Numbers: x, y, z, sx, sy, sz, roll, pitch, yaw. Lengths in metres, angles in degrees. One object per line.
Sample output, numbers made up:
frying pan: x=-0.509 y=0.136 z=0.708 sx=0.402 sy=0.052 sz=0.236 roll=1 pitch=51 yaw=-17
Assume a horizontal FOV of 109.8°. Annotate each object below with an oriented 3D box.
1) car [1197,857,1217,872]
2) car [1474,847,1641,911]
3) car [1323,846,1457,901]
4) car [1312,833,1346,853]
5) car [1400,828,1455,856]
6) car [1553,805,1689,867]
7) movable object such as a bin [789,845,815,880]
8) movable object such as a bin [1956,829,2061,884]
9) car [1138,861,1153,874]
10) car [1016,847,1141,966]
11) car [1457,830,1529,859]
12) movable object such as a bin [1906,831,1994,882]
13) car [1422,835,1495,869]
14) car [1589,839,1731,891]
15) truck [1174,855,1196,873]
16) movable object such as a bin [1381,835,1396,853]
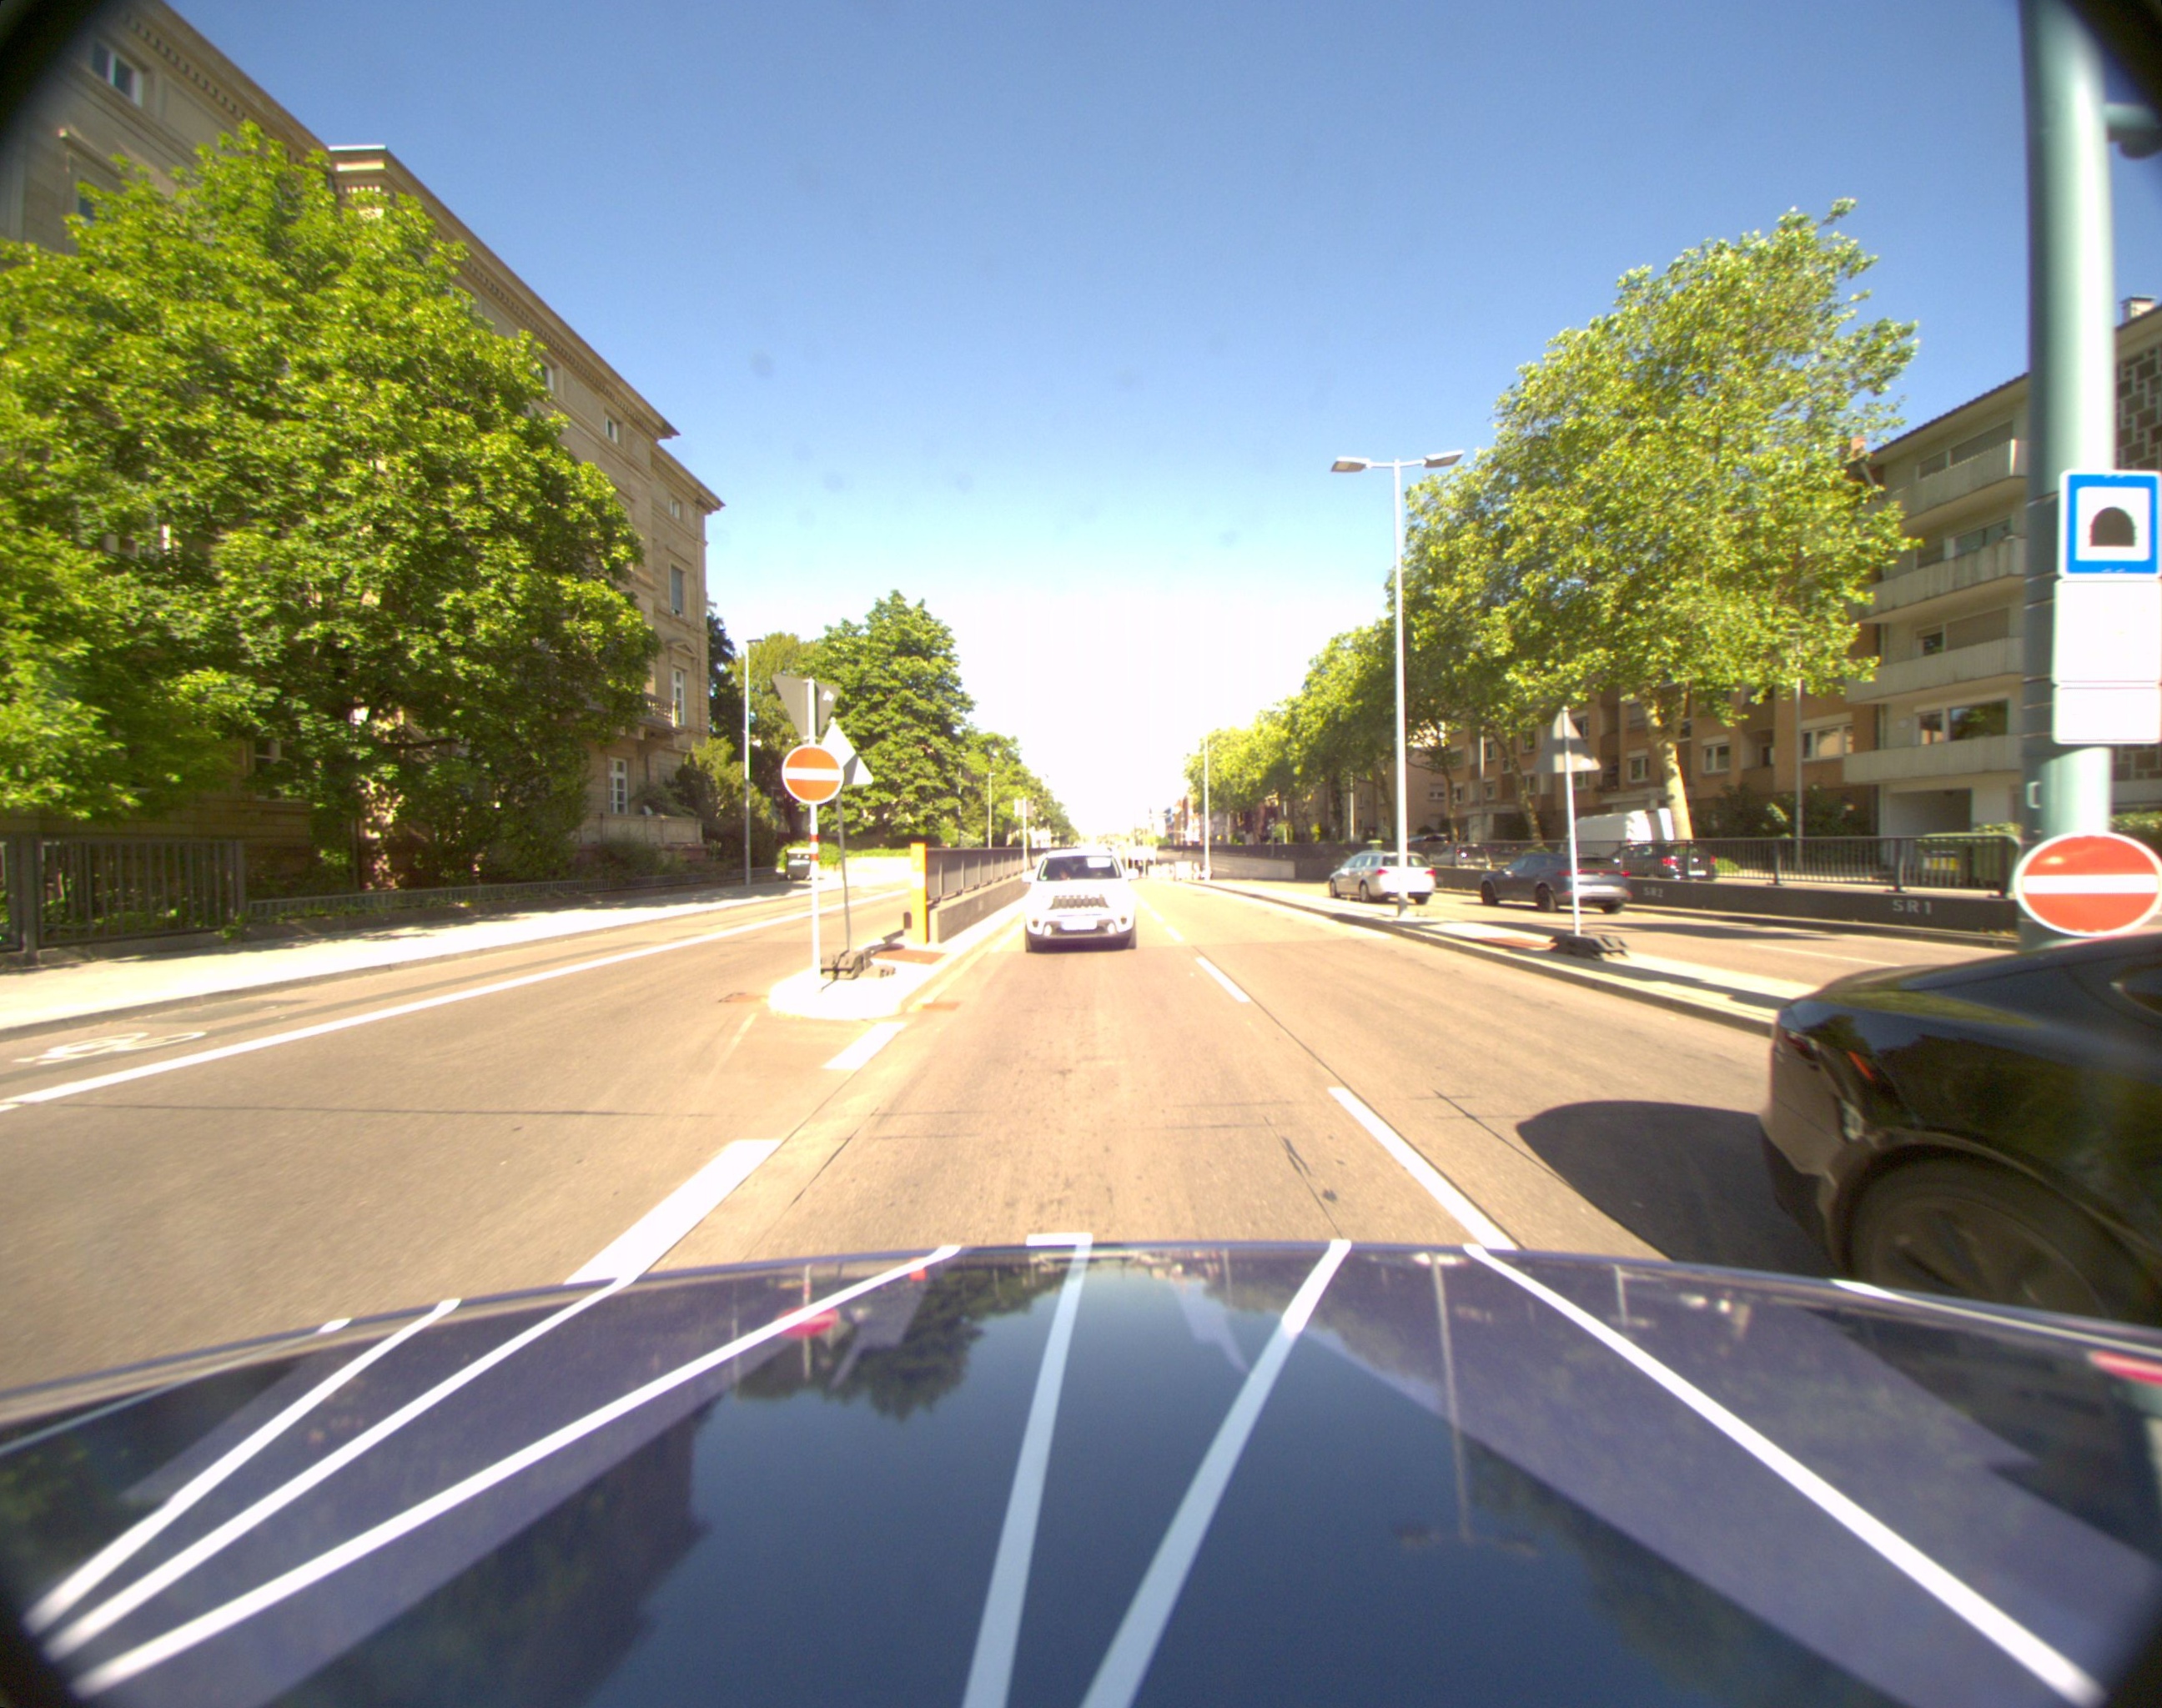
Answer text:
car: x=13.437 y=1.117 z=81.290 sx=1.662 sy=1.465 sz=3.297 roll=-2 pitch=1 yaw=1
car: x=12.018 y=0.558 z=19.539 sx=1.611 sy=1.433 sz=4.310 roll=1 pitch=1 yaw=1
car: x=8.968 y=0.563 z=22.537 sx=1.999 sy=1.444 sz=4.618 roll=1 pitch=-1 yaw=-1
car: x=23.990 y=-1.057 z=73.652 sx=1.998 sy=1.839 sz=4.000 roll=1 pitch=0 yaw=1
car: x=23.435 y=-0.792 z=51.588 sx=1.998 sy=1.742 sz=4.001 roll=-1 pitch=0 yaw=2
car: x=22.995 y=-0.697 z=32.693 sx=2.250 sy=2.431 sz=5.288 roll=1 pitch=0 yaw=3
movable object such as a bin: x=-11.598 y=0.352 z=31.528 sx=0.975 sy=1.390 sz=1.285 roll=1 pitch=0 yaw=-21
movable object such as a bin: x=23.660 y=0.068 z=19.427 sx=0.895 sy=1.352 sz=1.474 roll=1 pitch=0 yaw=3
car: x=11.307 y=2.403 z=133.459 sx=2.448 sy=2.074 sz=5.639 roll=-1 pitch=1 yaw=4
car: x=-0.008 y=0.798 z=13.259 sx=1.744 sy=1.648 sz=3.690 roll=-5 pitch=0 yaw=1
car: x=23.318 y=-0.496 z=43.205 sx=1.998 sy=1.571 sz=4.001 roll=1 pitch=0 yaw=2
movable object such as a bin: x=23.765 y=0.062 z=20.817 sx=0.895 sy=1.354 sz=1.314 roll=1 pitch=0 yaw=1
car: x=18.140 y=-0.113 z=36.701 sx=1.632 sy=1.478 sz=3.689 roll=-4 pitch=1 yaw=0
car: x=17.984 y=0.328 z=23.816 sx=1.632 sy=1.429 sz=3.690 roll=-3 pitch=0 yaw=1
truck: x=13.714 y=1.301 z=100.571 sx=2.285 sy=2.380 sz=5.368 roll=1 pitch=0 yaw=2
movable object such as a bin: x=27.355 y=-0.885 z=67.615 sx=0.885 sy=1.632 sz=1.253 roll=1 pitch=0 yaw=1
